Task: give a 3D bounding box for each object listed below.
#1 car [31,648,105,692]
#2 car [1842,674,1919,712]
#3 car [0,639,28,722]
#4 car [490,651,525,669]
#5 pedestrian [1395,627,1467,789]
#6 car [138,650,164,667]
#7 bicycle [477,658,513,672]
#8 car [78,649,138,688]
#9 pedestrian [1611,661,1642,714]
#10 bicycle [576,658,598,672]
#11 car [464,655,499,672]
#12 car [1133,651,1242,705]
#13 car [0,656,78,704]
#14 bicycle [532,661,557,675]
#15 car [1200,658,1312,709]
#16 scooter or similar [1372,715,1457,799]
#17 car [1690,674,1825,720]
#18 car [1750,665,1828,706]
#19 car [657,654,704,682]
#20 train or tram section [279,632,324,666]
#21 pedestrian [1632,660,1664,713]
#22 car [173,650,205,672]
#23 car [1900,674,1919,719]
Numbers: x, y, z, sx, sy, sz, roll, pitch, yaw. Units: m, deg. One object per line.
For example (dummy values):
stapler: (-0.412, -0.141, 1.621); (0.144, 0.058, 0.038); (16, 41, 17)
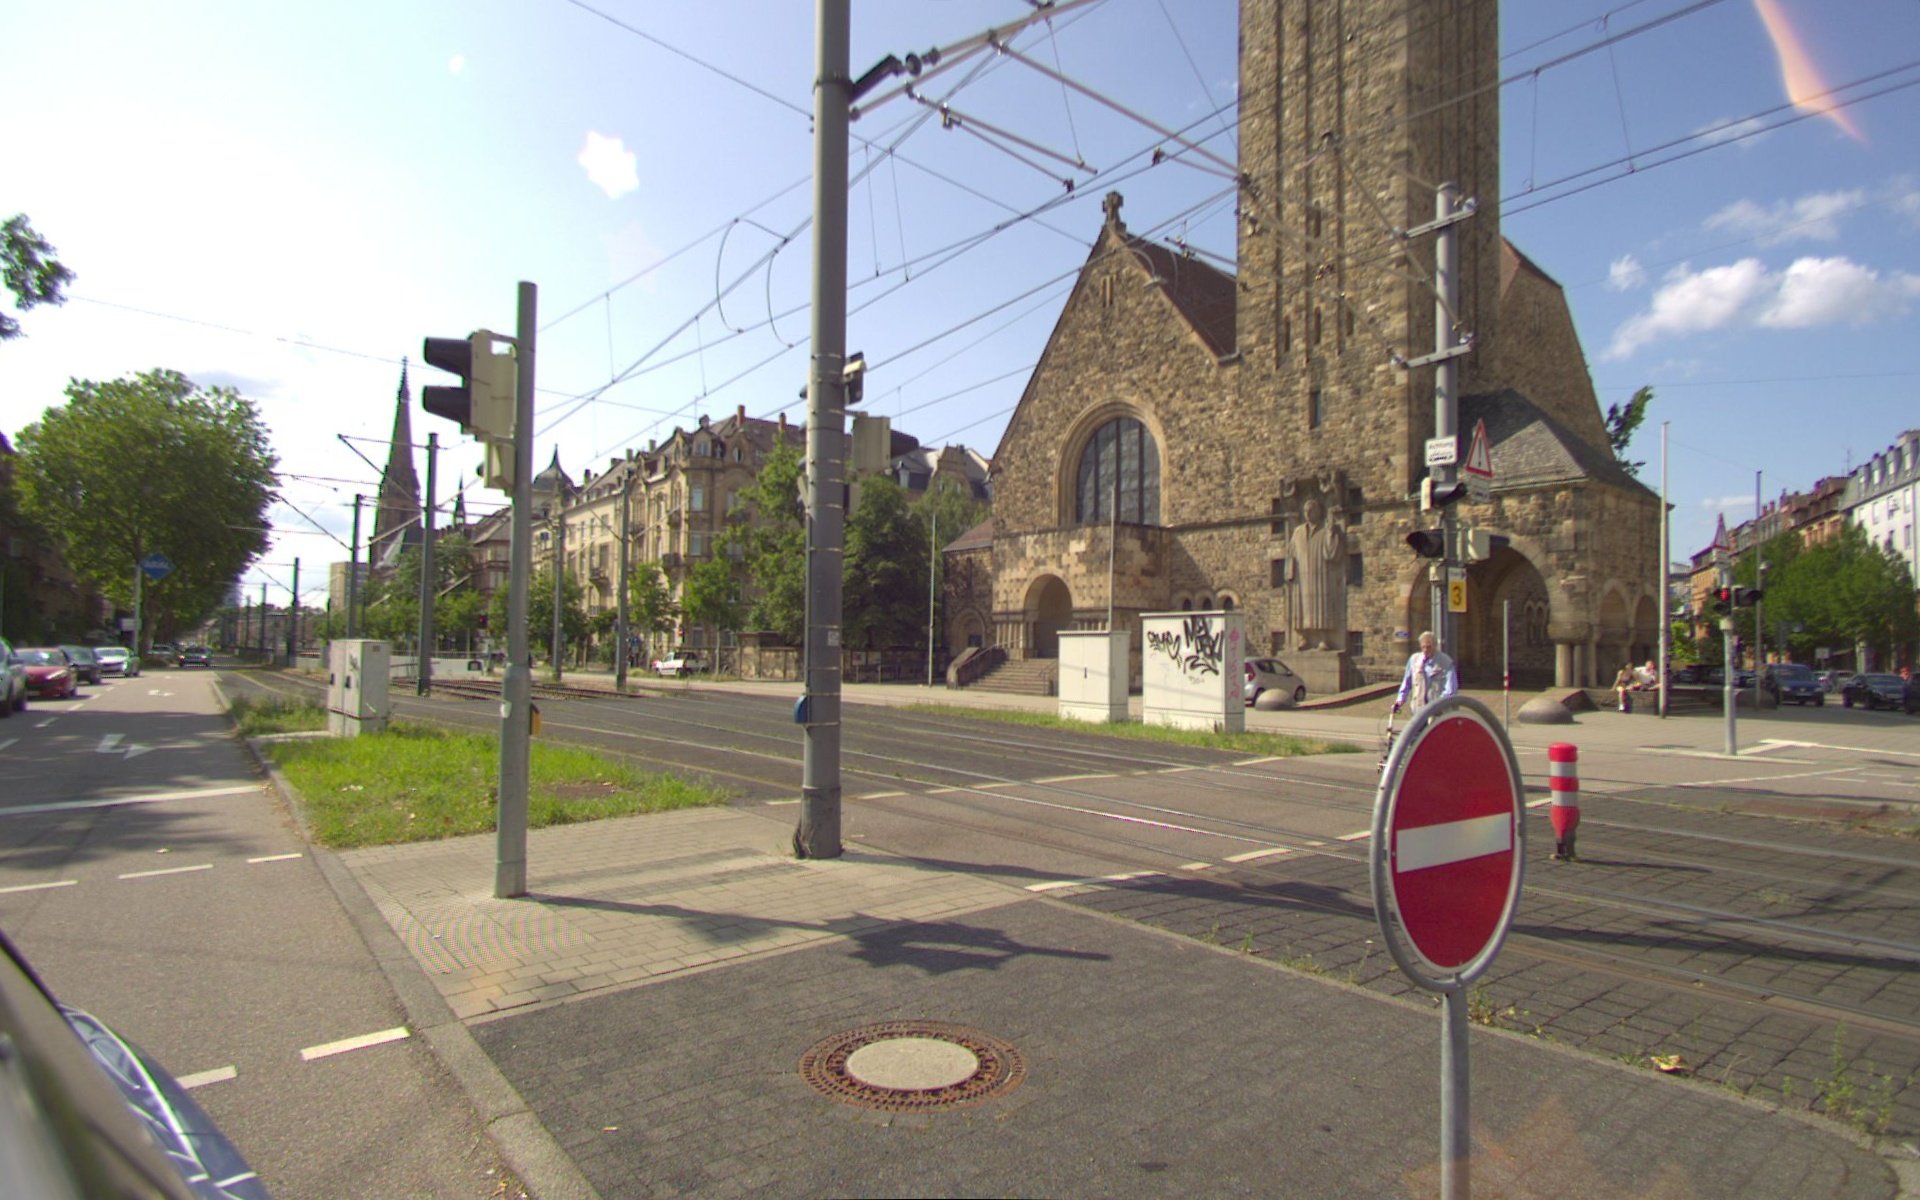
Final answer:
car: (-33.353, 2.594, 37.937); (1.737, 1.511, 4.195); (3, -4, -38)
car: (37.522, 3.725, 41.026); (1.694, 1.401, 3.827); (-1, -4, 26)
car: (-21.622, 1.696, 21.857); (1.737, 1.619, 4.689); (3, -3, -38)
car: (-38.577, 5.116, 86.288); (1.664, 1.514, 4.718); (3, -4, -37)
pedestrian: (5.262, 1.187, 11.314); (0.520, 1.746, 0.558); (4, -5, -43)
car: (-65.779, 4.718, 82.338); (1.477, 1.313, 3.499); (0, -2, -35)
bicycle: (-42.147, 5.921, 91.727); (0.792, 1.256, 2.916); (-2, -5, 39)
car: (-40.314, 3.200, 47.989); (1.922, 1.619, 5.086); (3, -3, -38)
pedestrian: (18.721, 2.448, 28.434); (0.551, 1.417, 0.517); (-1, 2, 5)
bicycle: (-31.472, 5.478, 85.335); (1.685, 1.077, 0.472); (0, -2, -44)
car: (-44.611, 5.889, 94.285); (1.776, 1.538, 4.495); (1, -3, -41)
car: (8.300, 2.818, 36.698); (3.952, 1.838, 1.866); (4, -4, -40)
car: (-26.041, 2.212, 28.404); (1.595, 1.198, 3.641); (3, -4, -36)
bicycle: (-32.595, 5.332, 79.386); (1.685, 1.077, 0.472); (4, -5, -44)
car: (9.895, 2.763, 33.705); (3.718, 1.559, 1.801); (4, -4, -39)
scooter or similar: (4.946, 1.686, 11.003); (0.828, 0.810, 0.554); (4, -4, -42)
car: (31.970, 3.869, 40.735); (2.001, 1.665, 3.977); (1, -3, -6)
car: (36.688, 3.746, 44.906); (1.806, 1.677, 4.035); (-2, -3, 27)
car: (-16.019, 3.863, 57.847); (1.645, 1.427, 3.856); (5, -5, -29)
train or tram section: (-73.621, 5.468, 112.926); (2.816, 3.607, 12.859); (4, -4, -38)
pedestrian: (19.280, 2.413, 28.376); (0.551, 1.417, 0.517); (-1, 2, 5)
car: (-56.314, 4.440, 73.921); (1.737, 1.511, 4.195); (3, -4, -38)
car: (35.074, 3.441, 35.676); (1.694, 1.609, 4.036); (-1, -4, 26)
